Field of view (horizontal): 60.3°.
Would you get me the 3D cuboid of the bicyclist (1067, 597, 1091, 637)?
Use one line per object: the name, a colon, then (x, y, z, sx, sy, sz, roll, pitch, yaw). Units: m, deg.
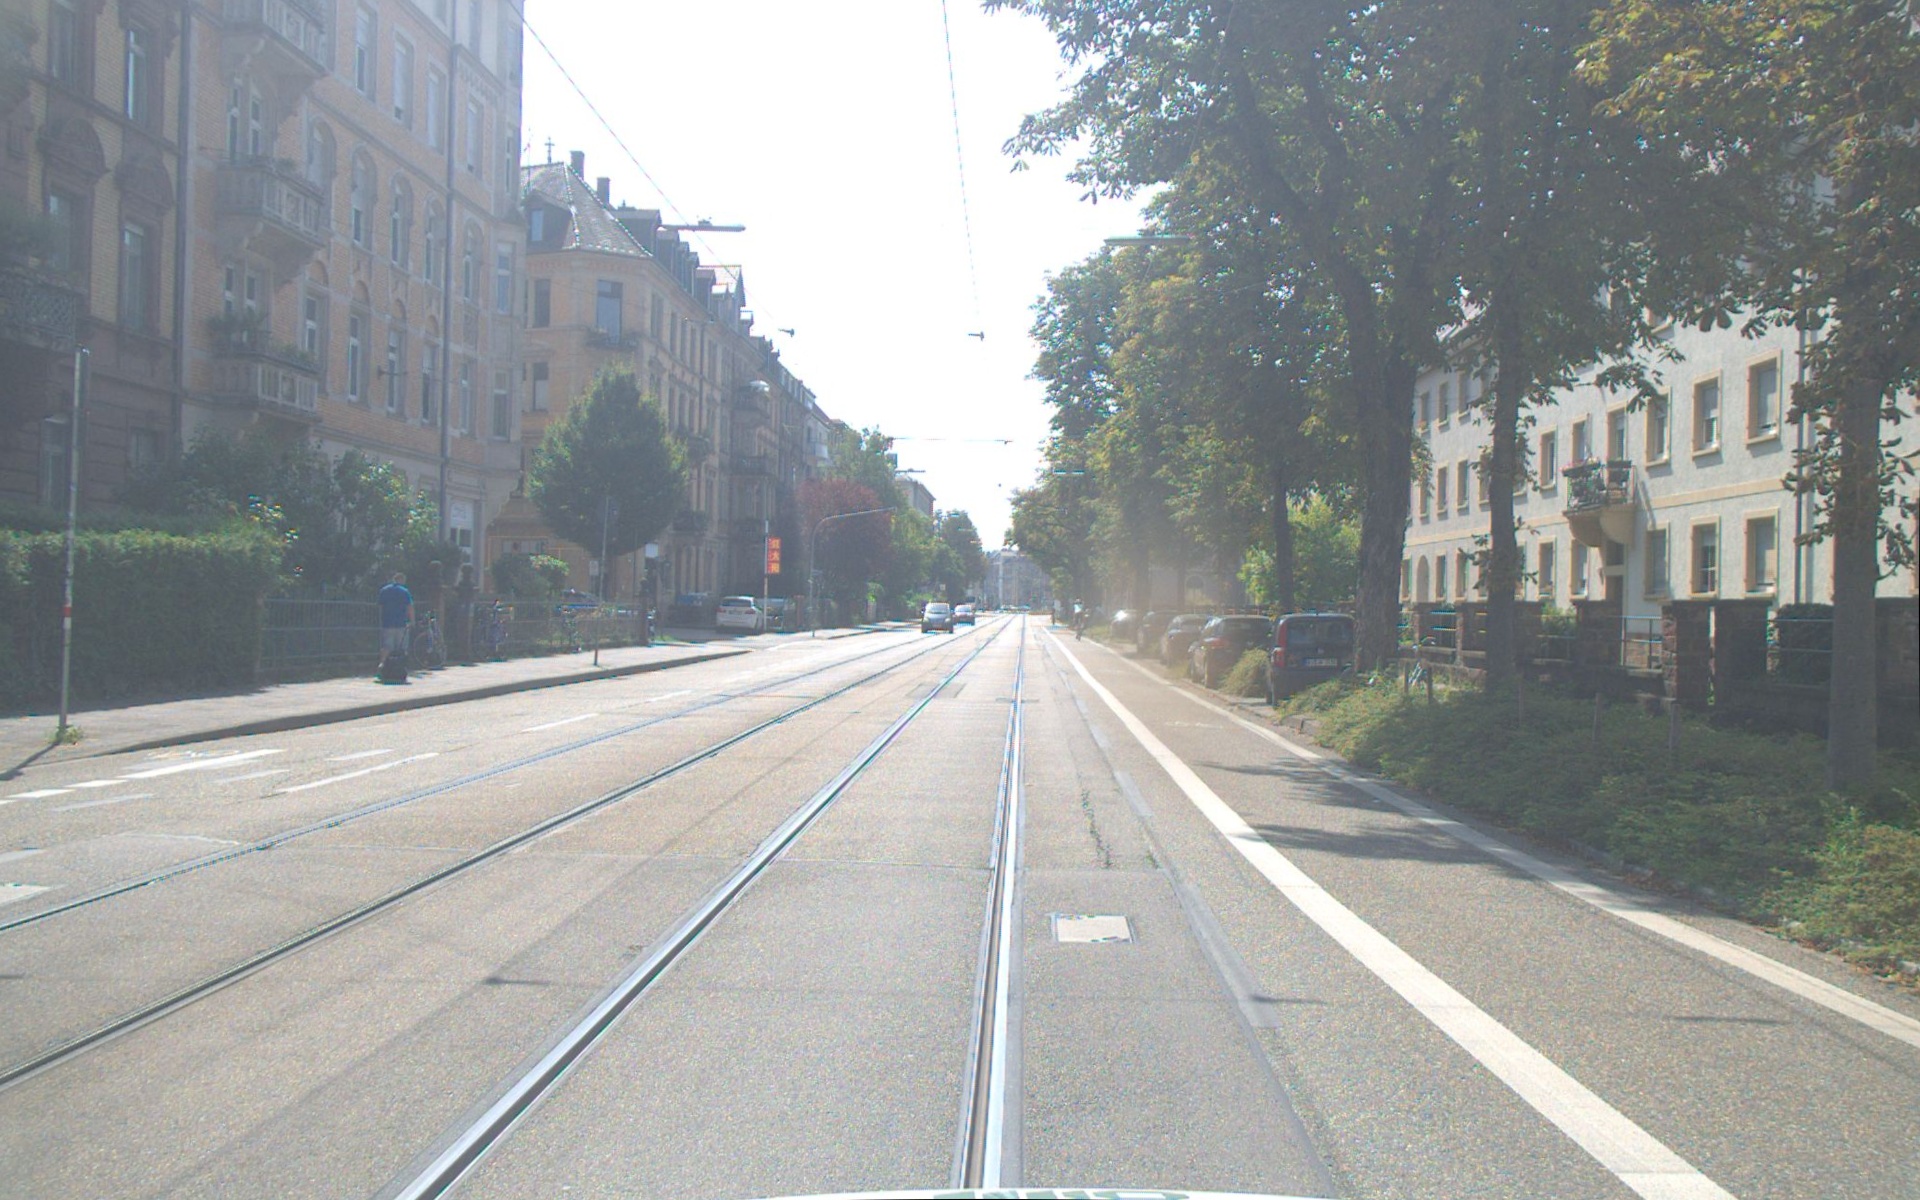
bicyclist: (5.719, 0.817, 79.368, 1.102, 1.869, 0.956, 1, -1, 3)

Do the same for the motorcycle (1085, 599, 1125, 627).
motorcycle: (8.615, 0.783, 98.330, 2.306, 1.567, 0.962, -2, -2, 44)

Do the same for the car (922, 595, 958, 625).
car: (-1.057, 0.520, 89.650, 1.789, 1.567, 4.001, 1, 0, 2)

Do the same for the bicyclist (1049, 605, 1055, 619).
bicyclist: (8.213, 1.081, 147.548, 0.566, 1.301, 0.471, 1, -1, 5)

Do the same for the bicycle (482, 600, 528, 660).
bicycle: (-9.226, 0.589, 33.586, 0.382, 1.168, 1.582, 1, 0, 3)

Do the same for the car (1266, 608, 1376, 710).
car: (6.001, 0.934, 27.775, 1.582, 1.557, 3.502, 0, 0, 9)

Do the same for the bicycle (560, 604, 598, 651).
bicycle: (-9.060, 0.646, 39.383, 0.382, 1.056, 1.834, 1, 0, 3)

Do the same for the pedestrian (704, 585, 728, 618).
pedestrian: (-11.682, 0.057, 79.047, 0.873, 1.537, 0.862, 1, 0, -29)

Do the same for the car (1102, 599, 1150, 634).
car: (7.491, 0.726, 74.922, 1.853, 1.503, 4.841, 1, 0, 2)

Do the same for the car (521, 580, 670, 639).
car: (-11.079, 0.281, 50.502, 4.016, 1.622, 1.880, 2, 0, 4)

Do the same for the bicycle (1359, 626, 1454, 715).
bicycle: (5.872, 0.913, 21.724, 1.375, 1.128, 0.385, 1, 0, -34)

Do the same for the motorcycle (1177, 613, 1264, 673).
motorcycle: (6.288, 1.039, 40.047, 1.963, 1.392, 0.782, 1, 0, -1)

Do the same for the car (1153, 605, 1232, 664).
car: (6.471, 0.944, 46.475, 1.719, 1.503, 4.459, -2, 0, 3)

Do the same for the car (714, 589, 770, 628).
car: (-9.491, 0.341, 72.352, 1.953, 1.622, 4.358, 1, 0, -1)

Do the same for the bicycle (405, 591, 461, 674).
bicycle: (-9.425, 0.559, 29.620, 0.382, 1.430, 1.582, 1, 0, 3)

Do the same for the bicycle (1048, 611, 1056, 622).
bicycle: (8.203, 1.479, 147.506, 0.575, 0.955, 2.173, 1, 0, 5)

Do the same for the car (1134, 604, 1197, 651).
car: (7.020, 0.911, 56.876, 1.719, 1.503, 4.387, 1, 0, 2)

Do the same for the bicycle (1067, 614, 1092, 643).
bicycle: (5.732, 1.369, 79.485, 1.124, 1.291, 2.713, 1, 0, 4)

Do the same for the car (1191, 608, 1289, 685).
car: (5.953, 0.955, 35.532, 1.583, 1.503, 4.040, 0, 0, 3)

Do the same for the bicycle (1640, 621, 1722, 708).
bicycle: (10.442, 0.911, 23.991, 0.458, 1.180, 1.718, 1, 0, 1)

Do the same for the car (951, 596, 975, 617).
car: (0.269, 0.501, 128.106, 1.696, 1.516, 4.001, 1, 0, 2)

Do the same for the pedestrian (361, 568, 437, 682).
pedestrian: (-9.012, 0.388, 26.614, 0.865, 1.786, 0.870, 1, 0, 2)

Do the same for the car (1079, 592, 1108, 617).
car: (9.158, 0.294, 113.744, 1.802, 1.559, 4.116, 1, 2, 2)

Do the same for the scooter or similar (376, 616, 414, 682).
scooter or similar: (-8.853, 0.770, 25.920, 0.392, 0.999, 0.584, 3, 0, -6)
